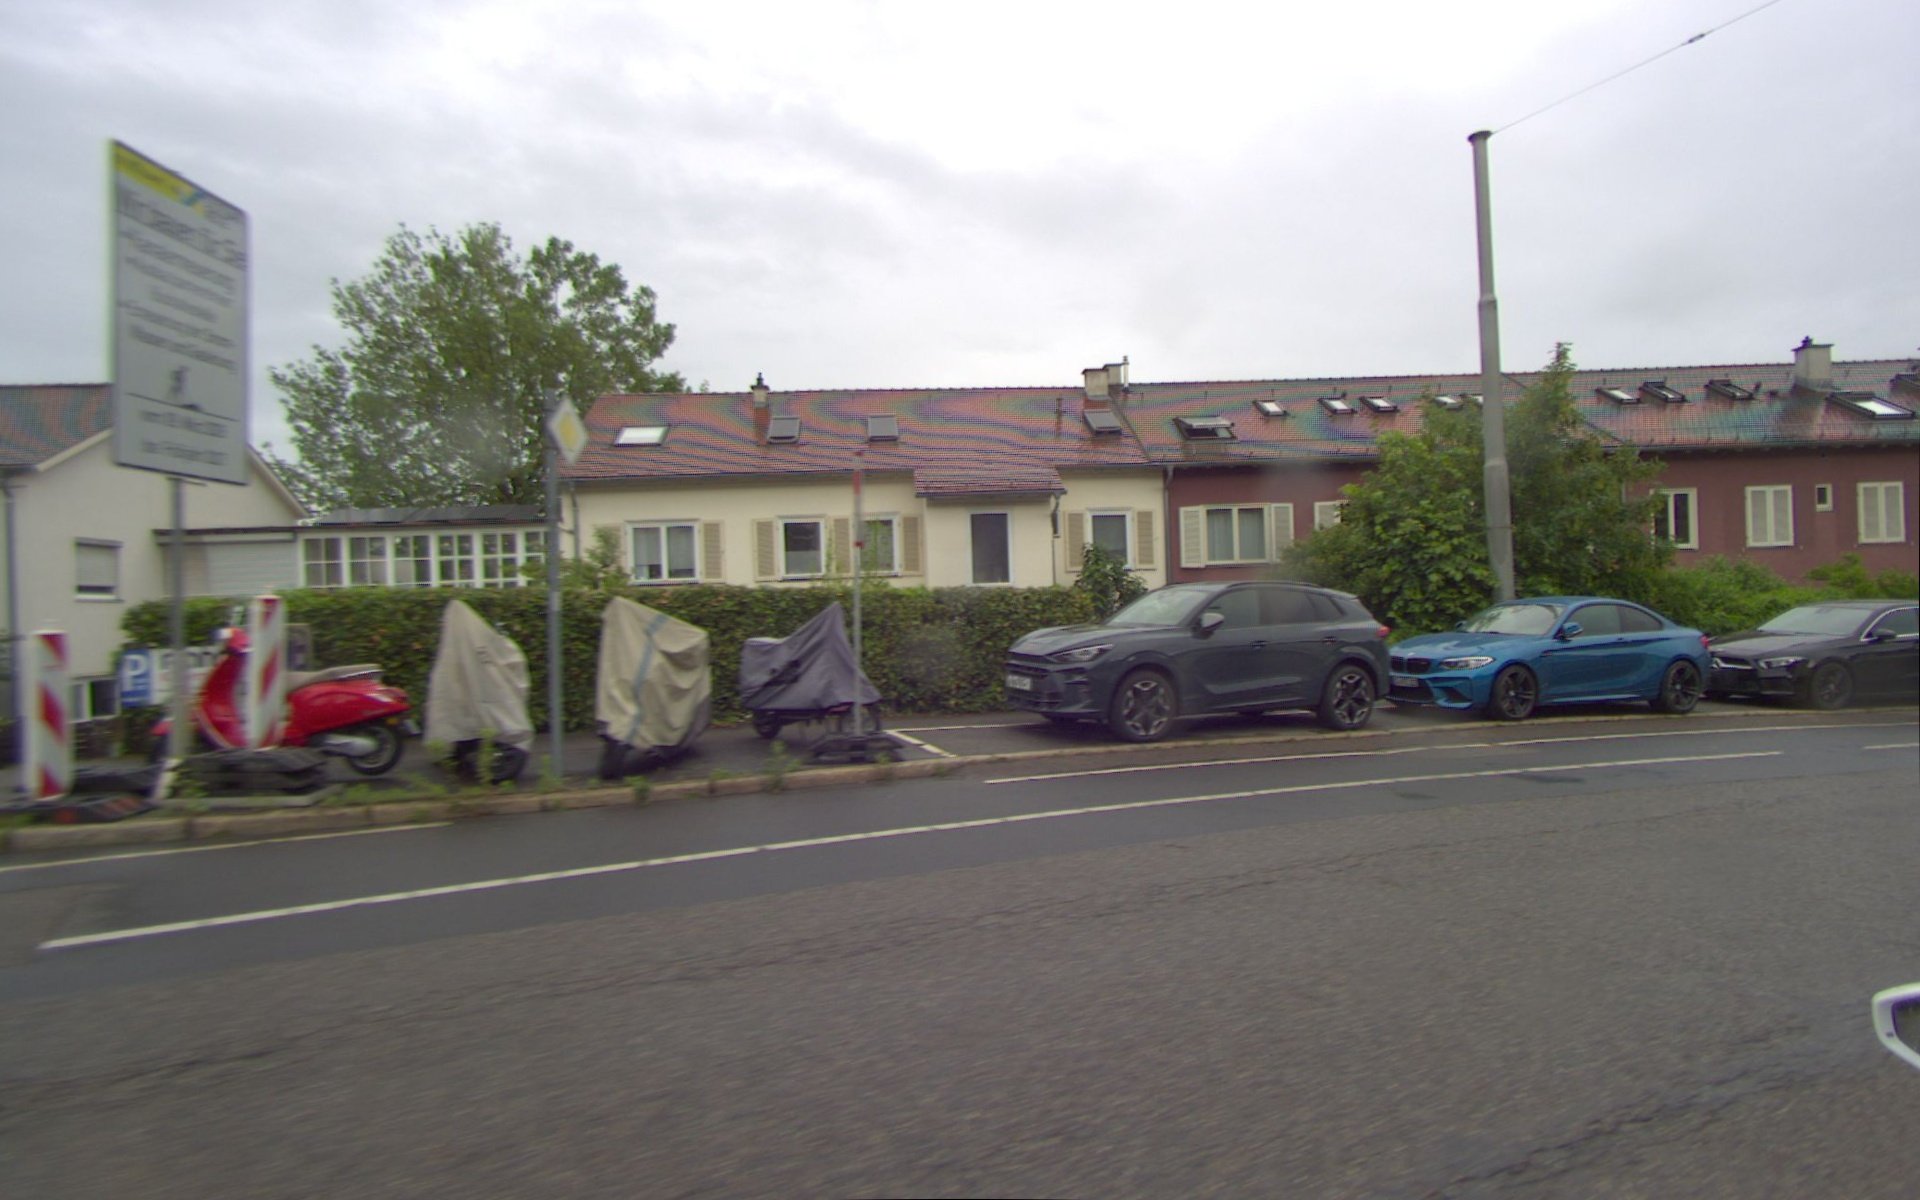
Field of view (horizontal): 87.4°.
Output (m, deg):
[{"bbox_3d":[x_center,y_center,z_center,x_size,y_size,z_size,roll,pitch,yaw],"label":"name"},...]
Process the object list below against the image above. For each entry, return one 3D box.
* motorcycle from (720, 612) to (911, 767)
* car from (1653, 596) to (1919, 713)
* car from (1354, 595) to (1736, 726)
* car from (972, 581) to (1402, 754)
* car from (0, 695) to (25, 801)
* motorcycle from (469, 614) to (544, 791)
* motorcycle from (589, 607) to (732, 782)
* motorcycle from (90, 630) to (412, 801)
[{"bbox_3d":[-1.373,0.774,9.333,1.875,1.288,0.573,1,1,35],"label":"motorcycle"},{"bbox_3d":[12.479,0.710,14.167,4.440,1.496,1.811,0,0,-9],"label":"car"},{"bbox_3d":[7.346,0.664,12.644,4.403,1.424,1.697,0,1,-19],"label":"car"},{"bbox_3d":[2.482,0.606,11.005,4.326,1.598,1.917,0,1,-24],"label":"car"},{"bbox_3d":[-17.068,2.279,15.177,3.869,1.662,1.787,2,-4,-8],"label":"car"},{"bbox_3d":[-3.763,0.768,8.346,0.504,1.296,1.796,0,0,-24],"label":"motorcycle"},{"bbox_3d":[-2.533,0.740,8.708,0.601,1.321,1.808,0,1,4],"label":"motorcycle"},{"bbox_3d":[-5.230,0.822,7.533,1.892,1.155,0.509,0,-3,-18],"label":"motorcycle"}]
